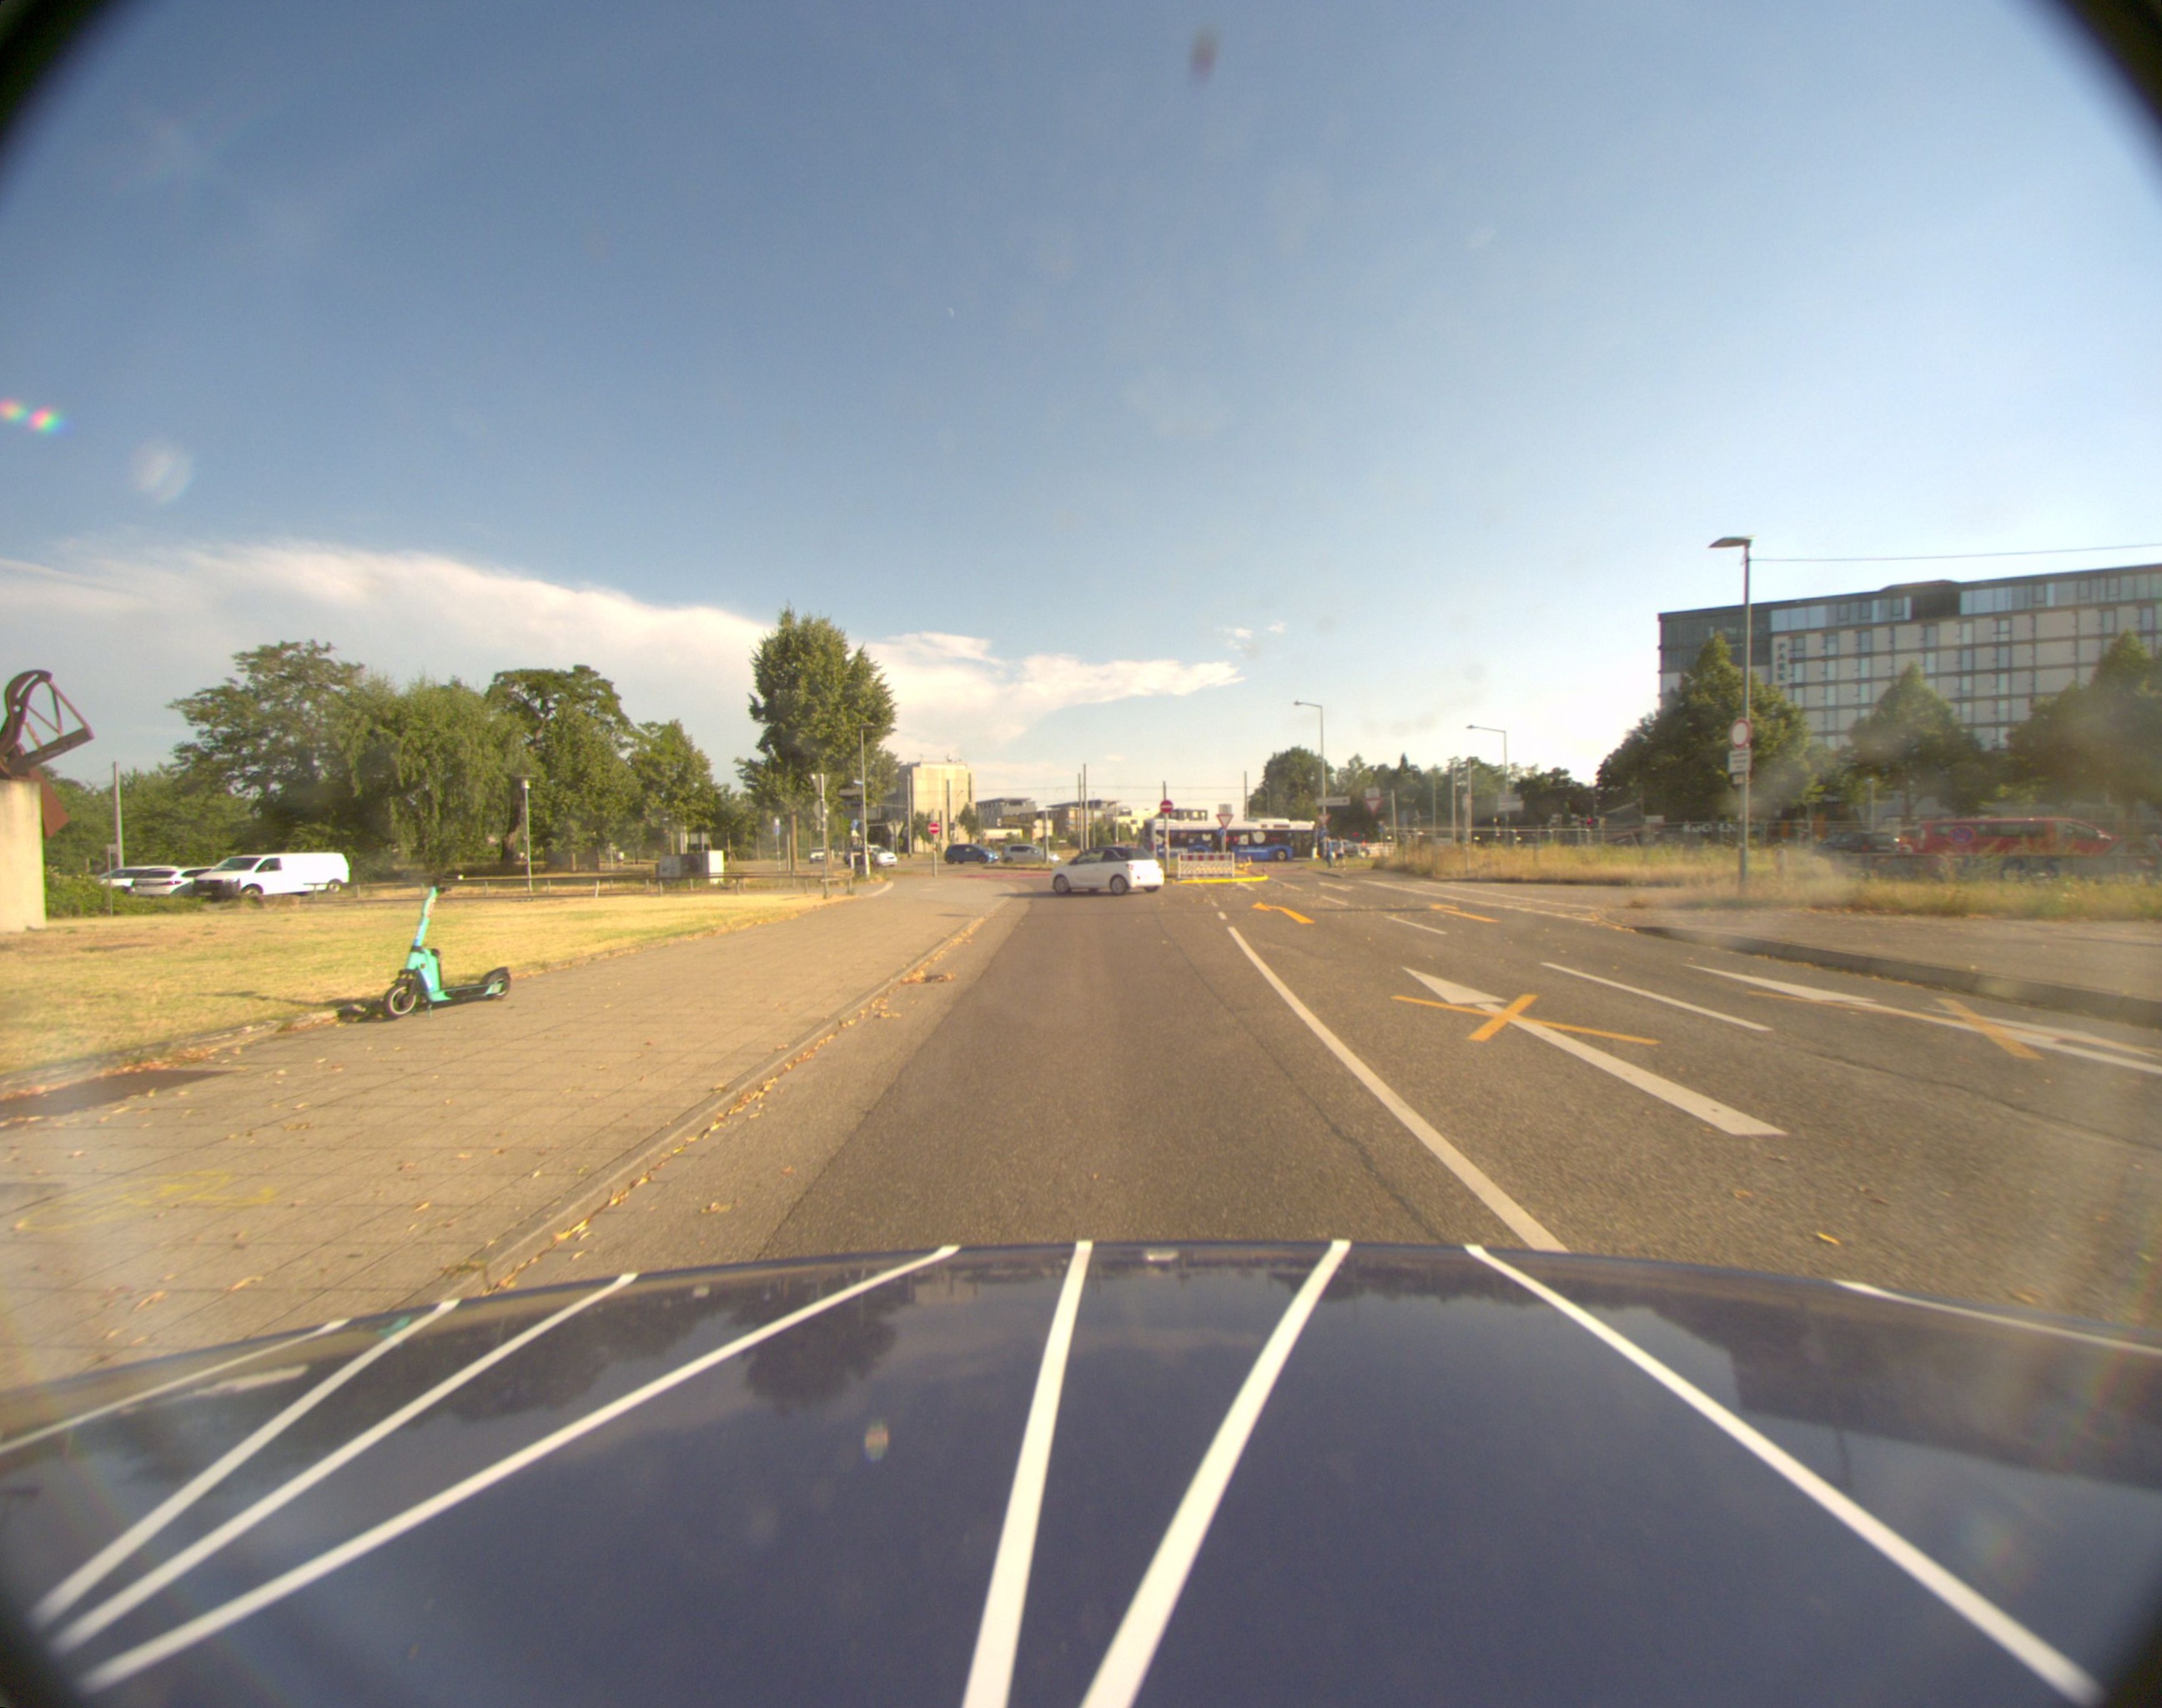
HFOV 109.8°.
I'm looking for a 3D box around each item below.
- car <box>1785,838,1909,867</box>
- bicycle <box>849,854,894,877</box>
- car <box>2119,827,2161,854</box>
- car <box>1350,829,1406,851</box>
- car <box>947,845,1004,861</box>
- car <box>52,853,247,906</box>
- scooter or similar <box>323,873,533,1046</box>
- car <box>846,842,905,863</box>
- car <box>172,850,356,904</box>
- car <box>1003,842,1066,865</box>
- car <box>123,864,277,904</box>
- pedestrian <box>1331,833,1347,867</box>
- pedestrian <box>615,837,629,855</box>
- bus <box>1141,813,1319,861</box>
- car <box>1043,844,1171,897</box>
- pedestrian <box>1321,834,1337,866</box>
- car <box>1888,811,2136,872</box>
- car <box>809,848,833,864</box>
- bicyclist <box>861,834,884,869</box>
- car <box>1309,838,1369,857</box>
[{"bbox_3d":[37.965,-0.110,37.835,1.998,1.355,4.244,-1,1,2],"label":"car"},{"bbox_3d":[-10.680,0.567,38.795,2.123,1.117,0.641,-1,2,0],"label":"bicycle"},{"bbox_3d":[50.265,-0.633,34.265,3.925,1.159,1.333,0,2,24],"label":"car"},{"bbox_3d":[29.012,-1.356,74.230,5.251,2.036,2.090,-2,2,-26],"label":"car"},{"bbox_3d":[-8.036,-0.067,57.872,3.990,1.171,1.647,0,1,22],"label":"car"},{"bbox_3d":[-40.749,1.049,33.515,2.268,2.002,5.057,-1,2,0],"label":"car"},{"bbox_3d":[-5.695,0.854,6.738,0.560,1.285,1.462,3,1,0],"label":"scooter or similar"},{"bbox_3d":[-15.395,-0.100,56.880,4.037,1.542,1.916,0,1,31],"label":"car"},{"bbox_3d":[-35.359,0.909,33.177,2.268,2.002,5.217,-1,2,0],"label":"car"},{"bbox_3d":[-3.220,-0.051,53.033,3.994,1.515,2.001,-1,1,10],"label":"car"},{"bbox_3d":[-37.742,1.246,32.727,1.869,1.435,3.999,-1,1,0],"label":"car"},{"bbox_3d":[13.646,-0.211,40.195,0.770,1.765,0.761,0,2,19],"label":"pedestrian"},{"bbox_3d":[-37.608,-0.653,62.205,0.652,1.383,0.767,0,1,4],"label":"pedestrian"},{"bbox_3d":[10.490,-1.245,53.673,12.179,3.044,2.663,-1,2,-10],"label":"bus"},{"bbox_3d":[0.756,0.495,23.378,3.614,1.413,1.767,-1,3,42],"label":"car"},{"bbox_3d":[13.399,-0.237,41.115,0.811,1.699,0.787,0,2,18],"label":"pedestrian"},{"bbox_3d":[32.942,-0.418,27.219,5.297,2.002,2.004,0,2,40],"label":"car"},{"bbox_3d":[-25.100,0.175,73.322,2.096,1.376,4.581,-2,1,-20],"label":"car"},{"bbox_3d":[-10.638,-0.139,38.752,0.938,1.791,0.728,-1,2,0],"label":"bicyclist"},{"bbox_3d":[20.623,-0.526,60.784,4.391,1.428,1.807,-2,2,-21],"label":"car"}]
